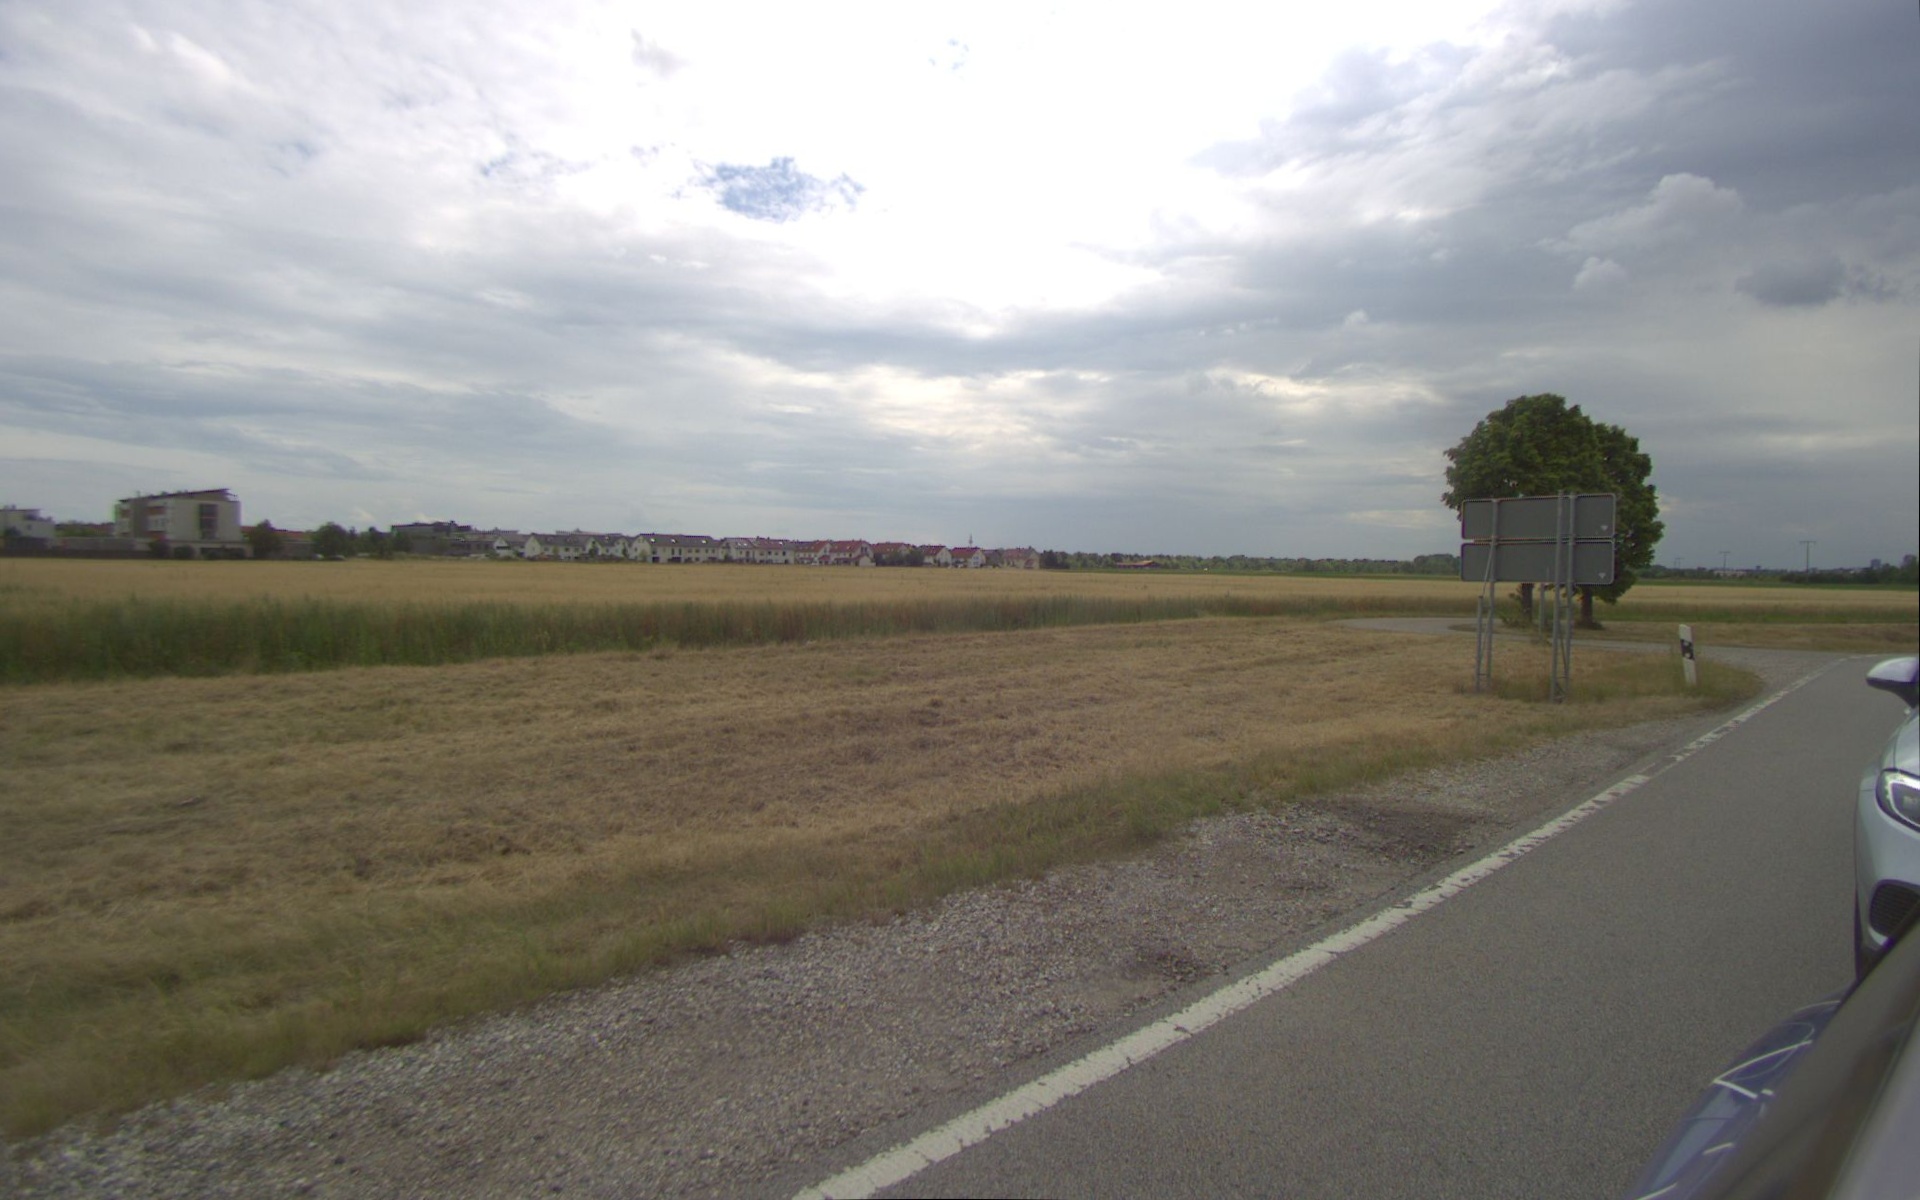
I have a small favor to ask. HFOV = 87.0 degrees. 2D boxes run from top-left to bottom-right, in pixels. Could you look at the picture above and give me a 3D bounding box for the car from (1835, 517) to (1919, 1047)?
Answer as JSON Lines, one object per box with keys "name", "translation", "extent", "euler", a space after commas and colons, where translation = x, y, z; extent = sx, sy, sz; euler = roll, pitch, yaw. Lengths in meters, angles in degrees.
{"name": "car", "translation": [5.000, 0.561, 4.026], "extent": [4.376, 1.606, 1.834], "euler": [-1, 3, -43]}
